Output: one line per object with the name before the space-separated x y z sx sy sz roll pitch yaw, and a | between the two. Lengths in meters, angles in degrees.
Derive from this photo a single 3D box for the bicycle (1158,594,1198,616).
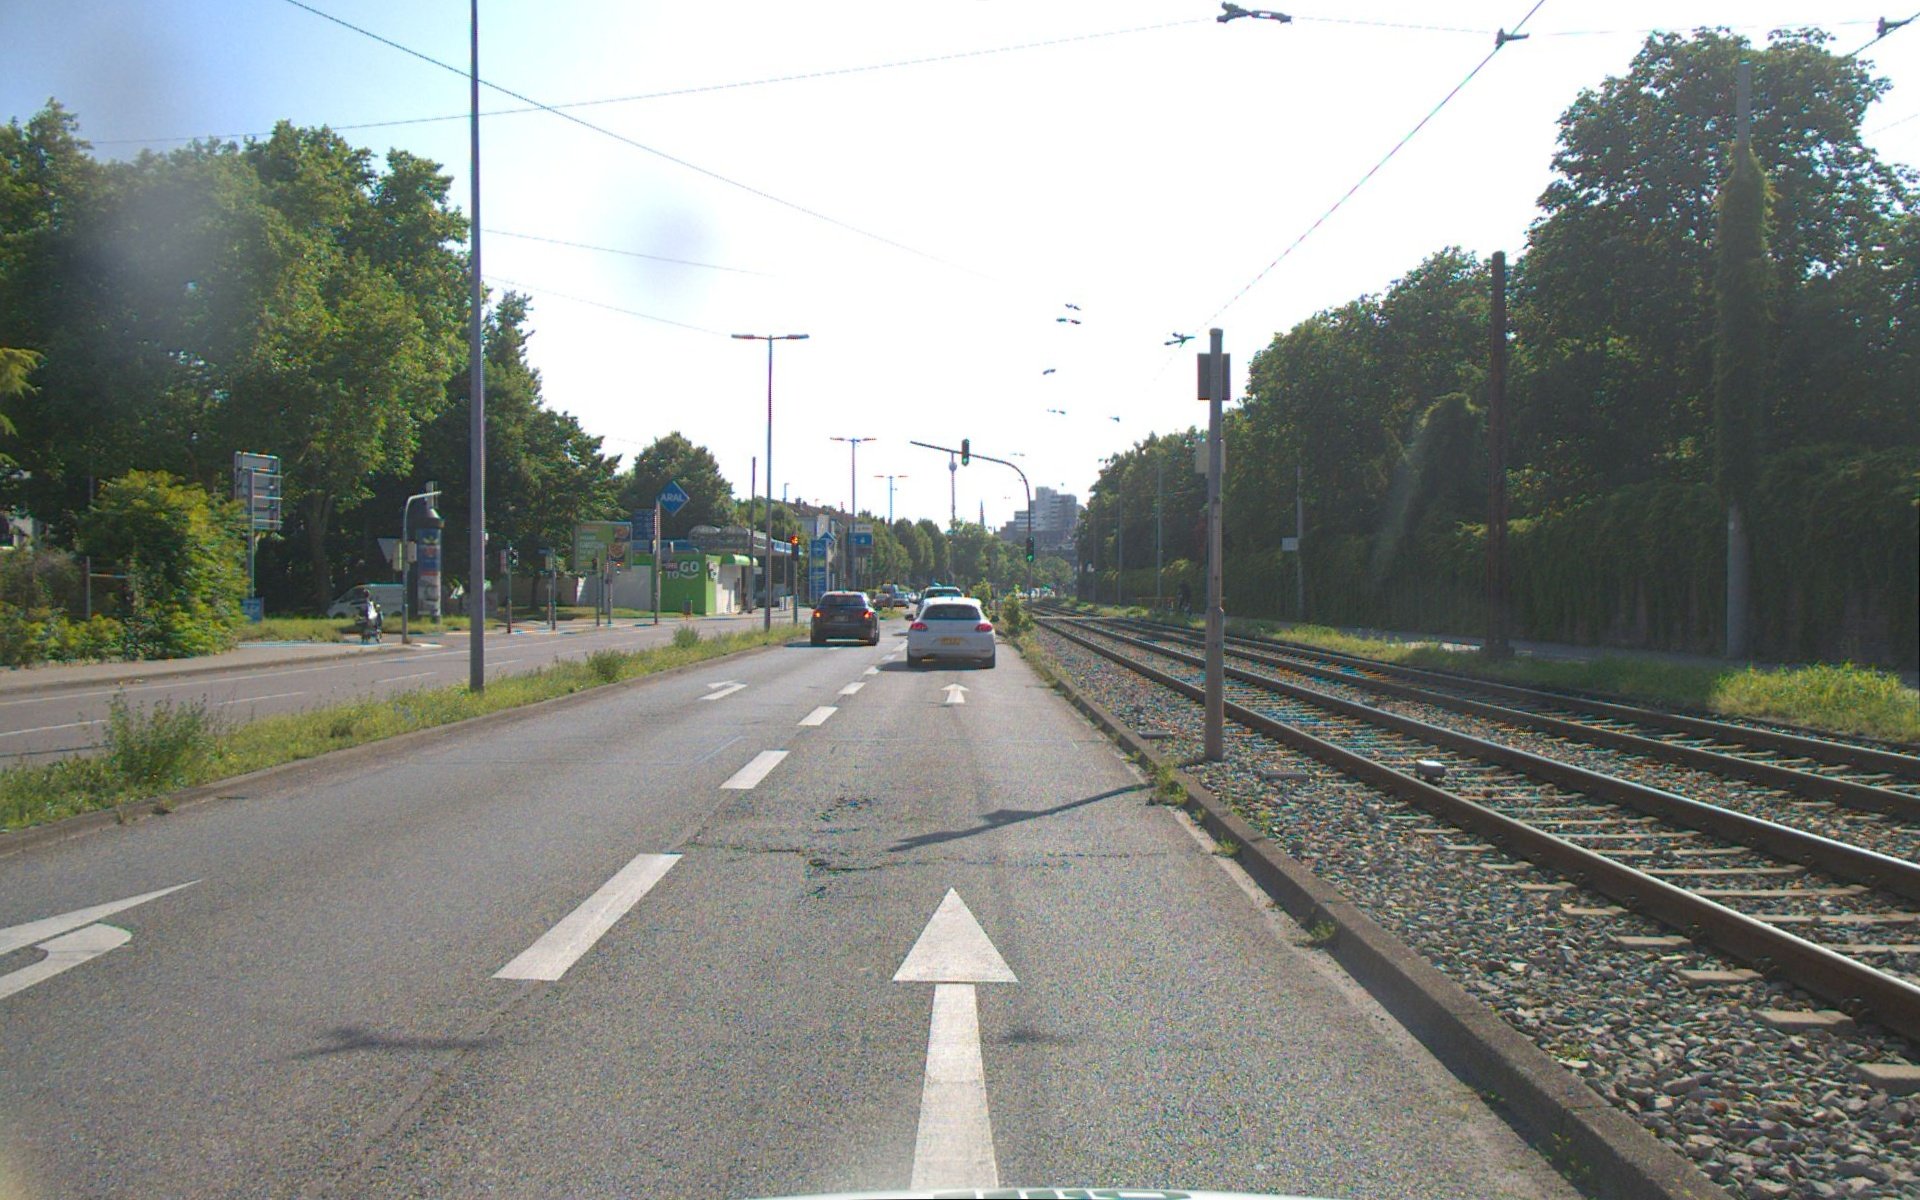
bicycle | 11.444 0.255 86.730 1.883 1.134 0.947 0 0 25

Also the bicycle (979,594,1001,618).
bicycle | 1.488 0.313 82.434 0.629 1.174 1.938 0 0 15

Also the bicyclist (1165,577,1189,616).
bicyclist | 11.404 -0.180 86.743 1.012 2.028 0.947 0 0 25

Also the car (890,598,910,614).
car | -5.366 0.529 149.146 1.619 1.420 4.134 0 0 0

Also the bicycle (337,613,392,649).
bicycle | -18.802 0.957 52.245 0.648 1.068 2.581 0 0 4

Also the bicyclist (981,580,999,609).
bicyclist | 1.510 -0.290 82.563 0.629 1.441 1.013 -1 0 15

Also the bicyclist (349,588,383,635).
bicyclist | -18.804 0.362 52.340 0.648 1.478 1.051 0 0 4

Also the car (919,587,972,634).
car | -0.540 0.353 59.358 1.690 1.620 3.599 1 0 -3

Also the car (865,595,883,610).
car | -8.555 0.215 164.532 1.541 1.441 3.334 0 0 1

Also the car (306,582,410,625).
car | -28.487 0.155 78.319 4.294 1.997 1.825 0 0 7

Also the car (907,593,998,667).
car | -0.159 0.582 34.017 1.744 1.380 3.601 1 0 0

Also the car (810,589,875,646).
car | -3.293 0.455 46.934 1.725 1.511 4.642 1 0 -3
